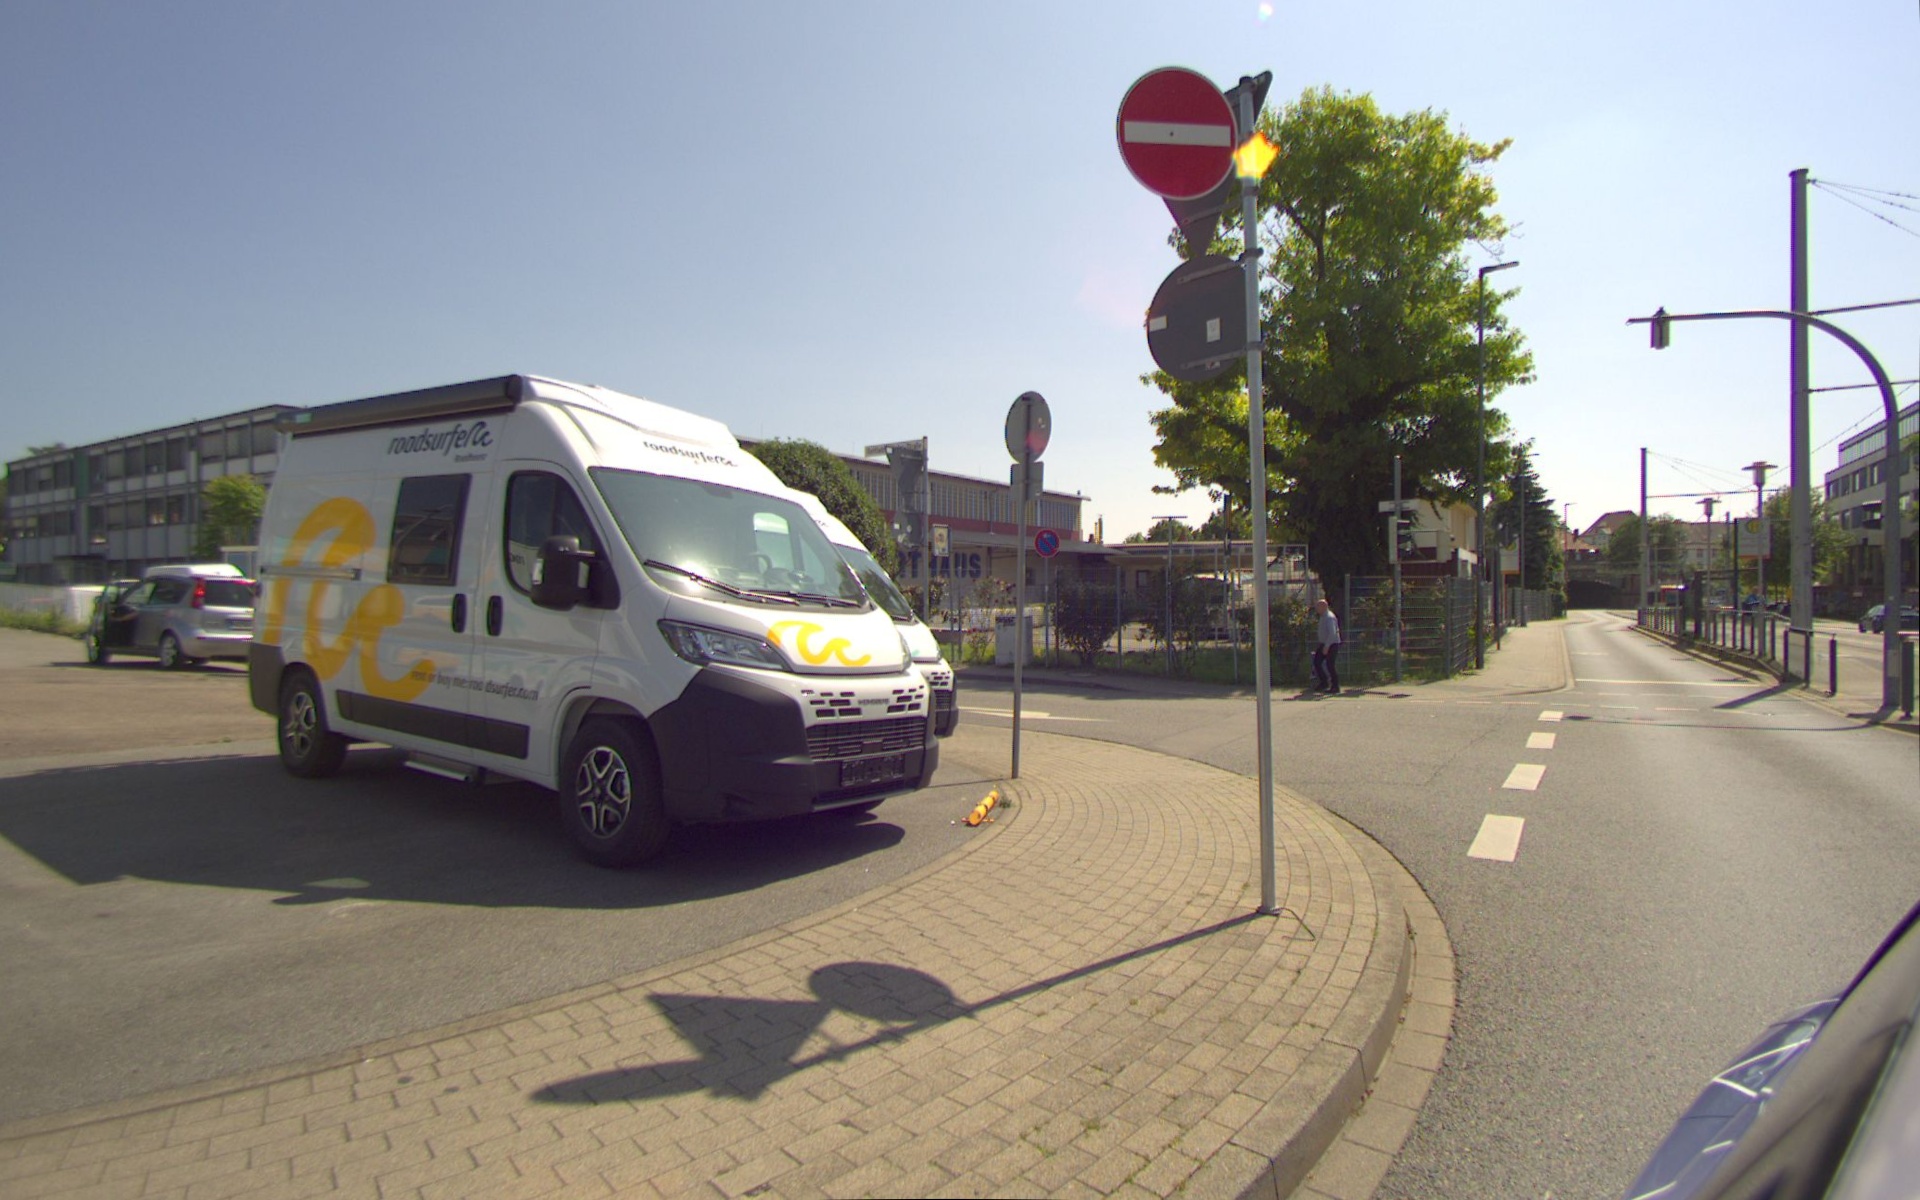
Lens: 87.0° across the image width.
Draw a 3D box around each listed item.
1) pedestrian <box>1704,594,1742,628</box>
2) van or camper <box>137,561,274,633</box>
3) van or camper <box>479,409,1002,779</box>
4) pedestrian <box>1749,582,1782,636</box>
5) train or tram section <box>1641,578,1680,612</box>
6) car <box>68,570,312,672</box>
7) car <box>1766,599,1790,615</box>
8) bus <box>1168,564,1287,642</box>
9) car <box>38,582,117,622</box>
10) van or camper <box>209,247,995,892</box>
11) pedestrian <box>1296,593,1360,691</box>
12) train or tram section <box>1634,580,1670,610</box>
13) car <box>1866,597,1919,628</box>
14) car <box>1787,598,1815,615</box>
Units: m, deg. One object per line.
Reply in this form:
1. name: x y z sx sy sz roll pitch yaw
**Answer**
1. pedestrian: 27.177 0.375 36.063 0.939 1.112 0.718 5 4 31
2. van or camper: -30.644 -0.133 41.032 6.692 2.713 2.319 0 0 33
3. van or camper: -2.416 -0.008 10.244 5.490 2.851 2.020 0 -2 36
4. pedestrian: 26.610 0.287 33.449 0.720 1.747 0.934 -1 -1 31
5. train or tram section: 77.831 -0.571 112.636 2.660 3.528 12.193 1 0 30
6. car: -12.840 0.335 16.854 3.861 1.535 1.797 0 -3 29
7. car: 87.332 0.700 108.051 1.863 1.638 3.944 1 1 38
8. bus: 12.850 -0.037 47.785 2.554 3.210 10.155 0 2 32
9. car: -28.982 0.044 33.223 2.916 1.265 1.210 1 0 33
10. van or camper: -2.755 -0.168 6.925 5.791 2.809 2.064 1 -1 35
11. pedestrian: 6.700 0.744 18.459 0.871 1.721 0.814 1 0 3
12. train or tram section: 84.243 -0.594 123.318 2.660 3.528 13.243 1 0 31
13. car: 46.913 0.608 50.325 1.898 1.460 4.544 2 1 31
14. car: 84.138 0.651 101.280 1.990 1.643 3.944 1 1 38
